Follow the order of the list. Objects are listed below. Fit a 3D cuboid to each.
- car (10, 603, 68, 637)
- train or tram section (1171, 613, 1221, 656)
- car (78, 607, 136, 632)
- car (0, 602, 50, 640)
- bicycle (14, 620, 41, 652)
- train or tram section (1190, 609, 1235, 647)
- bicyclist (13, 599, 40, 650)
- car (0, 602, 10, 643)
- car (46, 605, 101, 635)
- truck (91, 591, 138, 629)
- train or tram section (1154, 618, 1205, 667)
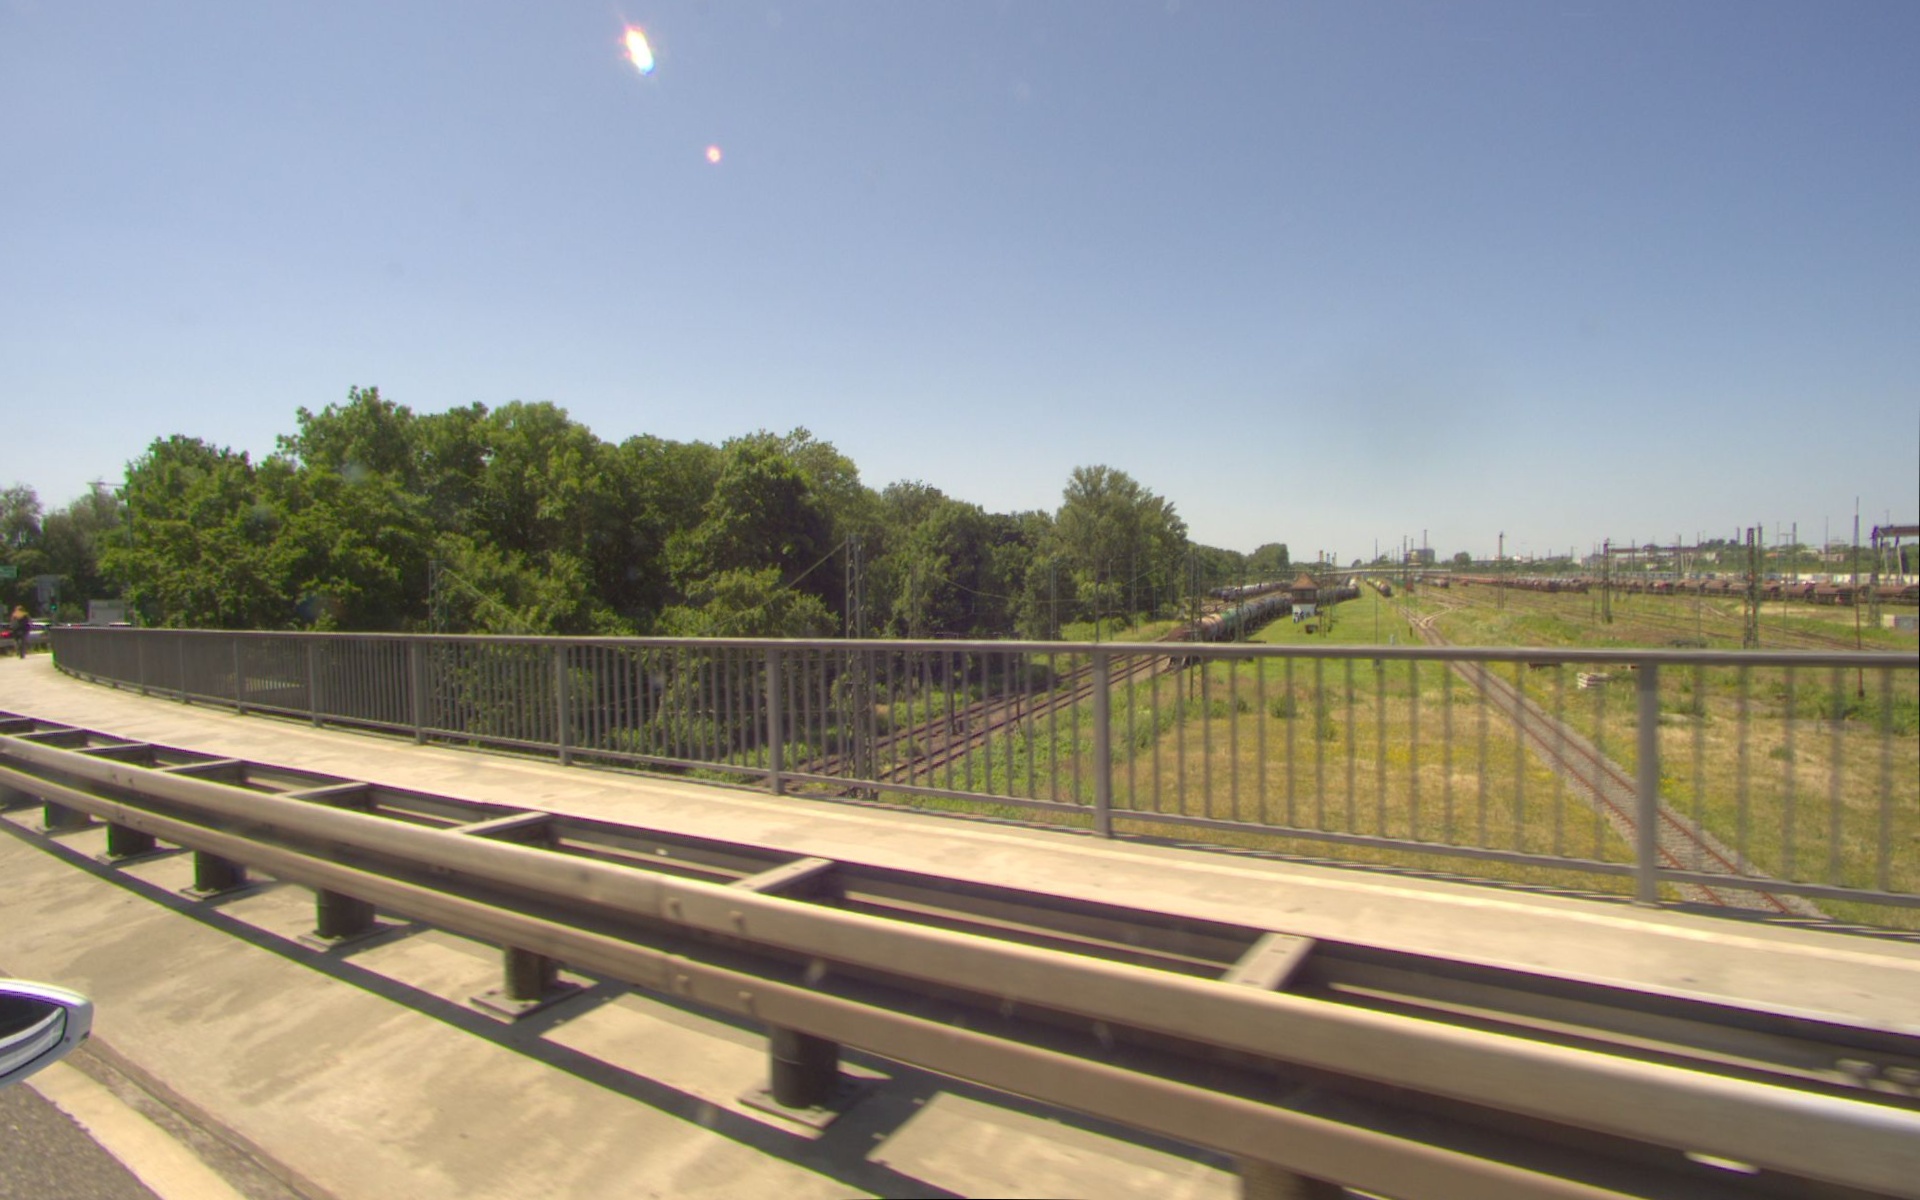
[{"bbox_3d":[-51.382,1.095,55.920,1.703,1.868,3.976,0,-1,-32],"label":"car"},{"bbox_3d":[29.402,4.163,124.106,3.787,4.366,13.588,-2,1,22],"label":"train or tram section"},{"bbox_3d":[-58.184,1.362,68.386,1.969,1.594,3.987,2,-3,-25],"label":"car"},{"bbox_3d":[-47.803,1.055,50.814,1.703,1.868,3.976,0,-1,-32],"label":"car"},{"bbox_3d":[-32.036,1.236,34.408,0.577,1.050,1.471,-4,2,-42],"label":"bicycle"},{"bbox_3d":[34.553,3.719,136.647,3.788,4.366,13.586,-2,1,23],"label":"train or tram section"},{"bbox_3d":[-31.991,0.821,34.328,0.573,1.706,0.722,-4,3,-42],"label":"bicyclist"},{"bbox_3d":[-43.233,0.971,43.833,1.704,1.826,3.974,0,-1,-34],"label":"car"},{"bbox_3d":[-54.929,1.266,62.102,1.666,1.783,3.982,0,-1,-28],"label":"car"},{"bbox_3d":[-66.982,0.826,79.445,2.312,2.911,5.900,0,0,-35],"label":"truck"},{"bbox_3d":[24.576,4.594,111.354,3.785,4.366,13.598,-2,1,19],"label":"train or tram section"}]
